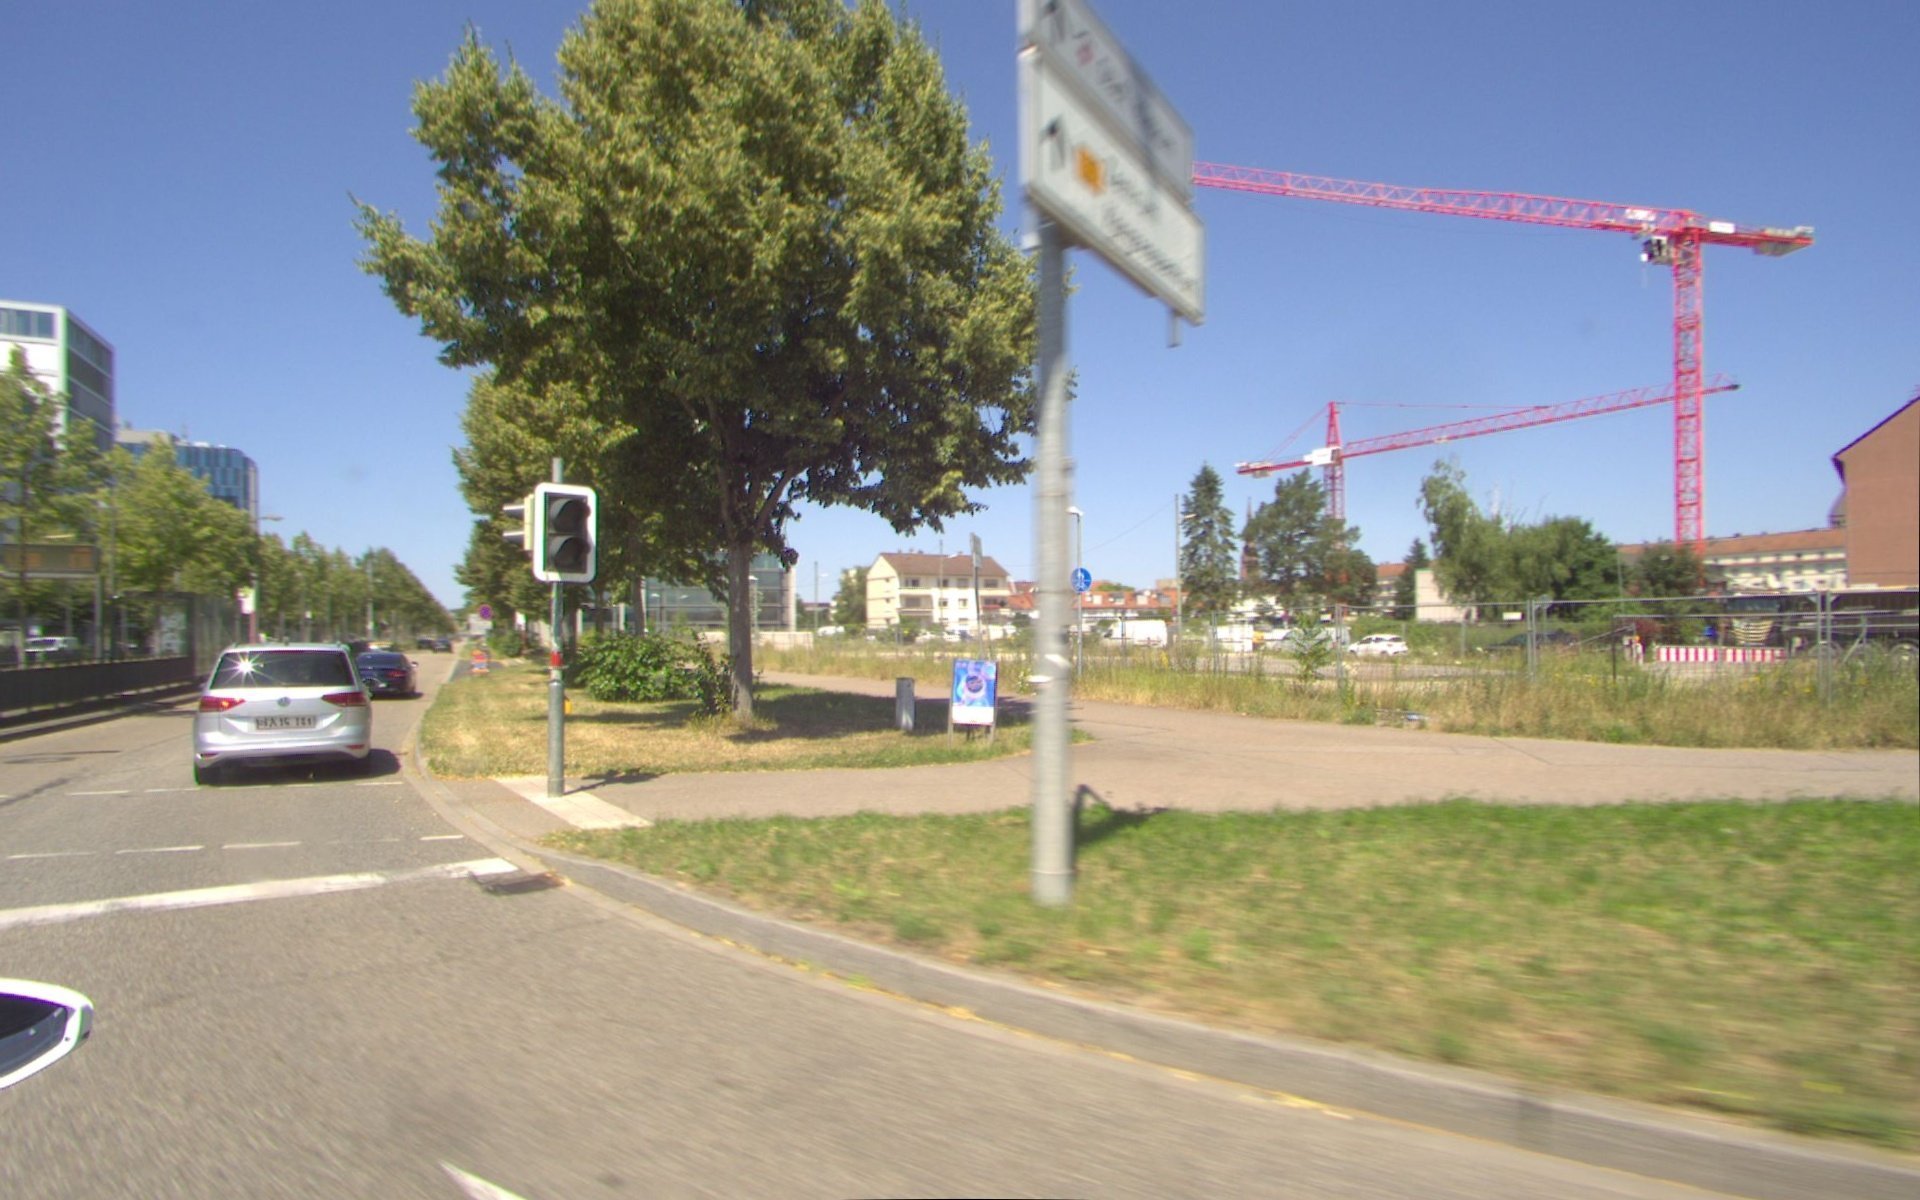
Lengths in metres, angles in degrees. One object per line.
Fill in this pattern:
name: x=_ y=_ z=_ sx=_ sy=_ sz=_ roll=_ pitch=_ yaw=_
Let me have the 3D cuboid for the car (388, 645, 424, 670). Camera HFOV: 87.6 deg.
car: x=-33.896 y=3.518 z=61.341 sx=1.598 sy=1.469 sz=3.974 roll=0 pitch=-3 yaw=-25

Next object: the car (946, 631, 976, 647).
car: x=0.128 y=4.253 z=108.205 sx=1.655 sy=1.606 sz=3.607 roll=-1 pitch=-3 yaw=-29

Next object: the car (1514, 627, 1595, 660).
car: x=30.463 y=2.222 z=51.425 sx=1.349 sy=1.634 sz=3.407 roll=0 pitch=-2 yaw=-25

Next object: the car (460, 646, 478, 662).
car: x=-52.313 y=5.741 z=106.659 sx=1.745 sy=1.647 sz=3.702 roll=0 pitch=-2 yaw=-27

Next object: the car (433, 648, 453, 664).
car: x=-54.691 y=5.931 z=105.982 sx=1.745 sy=1.647 sz=3.702 roll=0 pitch=-2 yaw=-27

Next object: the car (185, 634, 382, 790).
car: x=-8.780 y=1.339 z=13.180 sx=1.783 sy=1.669 sz=4.579 roll=2 pitch=-4 yaw=-33

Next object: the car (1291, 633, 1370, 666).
car: x=23.794 y=3.178 z=64.499 sx=1.761 sy=2.039 sz=4.655 roll=0 pitch=-2 yaw=-33

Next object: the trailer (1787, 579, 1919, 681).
trailer: x=35.056 y=1.038 z=35.123 sx=3.111 sy=3.577 sz=8.973 roll=0 pitch=-2 yaw=-20

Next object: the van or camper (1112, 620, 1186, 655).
van or camper: x=15.125 y=3.023 z=80.713 sx=1.901 sy=2.635 sz=6.974 roll=0 pitch=-2 yaw=-28

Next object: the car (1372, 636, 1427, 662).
car: x=26.233 y=2.898 z=59.816 sx=1.396 sy=1.424 sz=2.780 roll=-2 pitch=-1 yaw=-26

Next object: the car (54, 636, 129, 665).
car: x=-58.136 y=3.358 z=67.145 sx=2.431 sy=1.829 sz=5.054 roll=0 pitch=-2 yaw=-25

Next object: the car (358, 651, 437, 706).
car: x=-17.375 y=2.365 z=31.105 sx=1.829 sy=1.455 sz=4.937 roll=0 pitch=-2 yaw=-26

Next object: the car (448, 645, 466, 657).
car: x=-62.723 y=6.357 z=124.835 sx=1.841 sy=1.482 sz=3.983 roll=-1 pitch=-3 yaw=-29
